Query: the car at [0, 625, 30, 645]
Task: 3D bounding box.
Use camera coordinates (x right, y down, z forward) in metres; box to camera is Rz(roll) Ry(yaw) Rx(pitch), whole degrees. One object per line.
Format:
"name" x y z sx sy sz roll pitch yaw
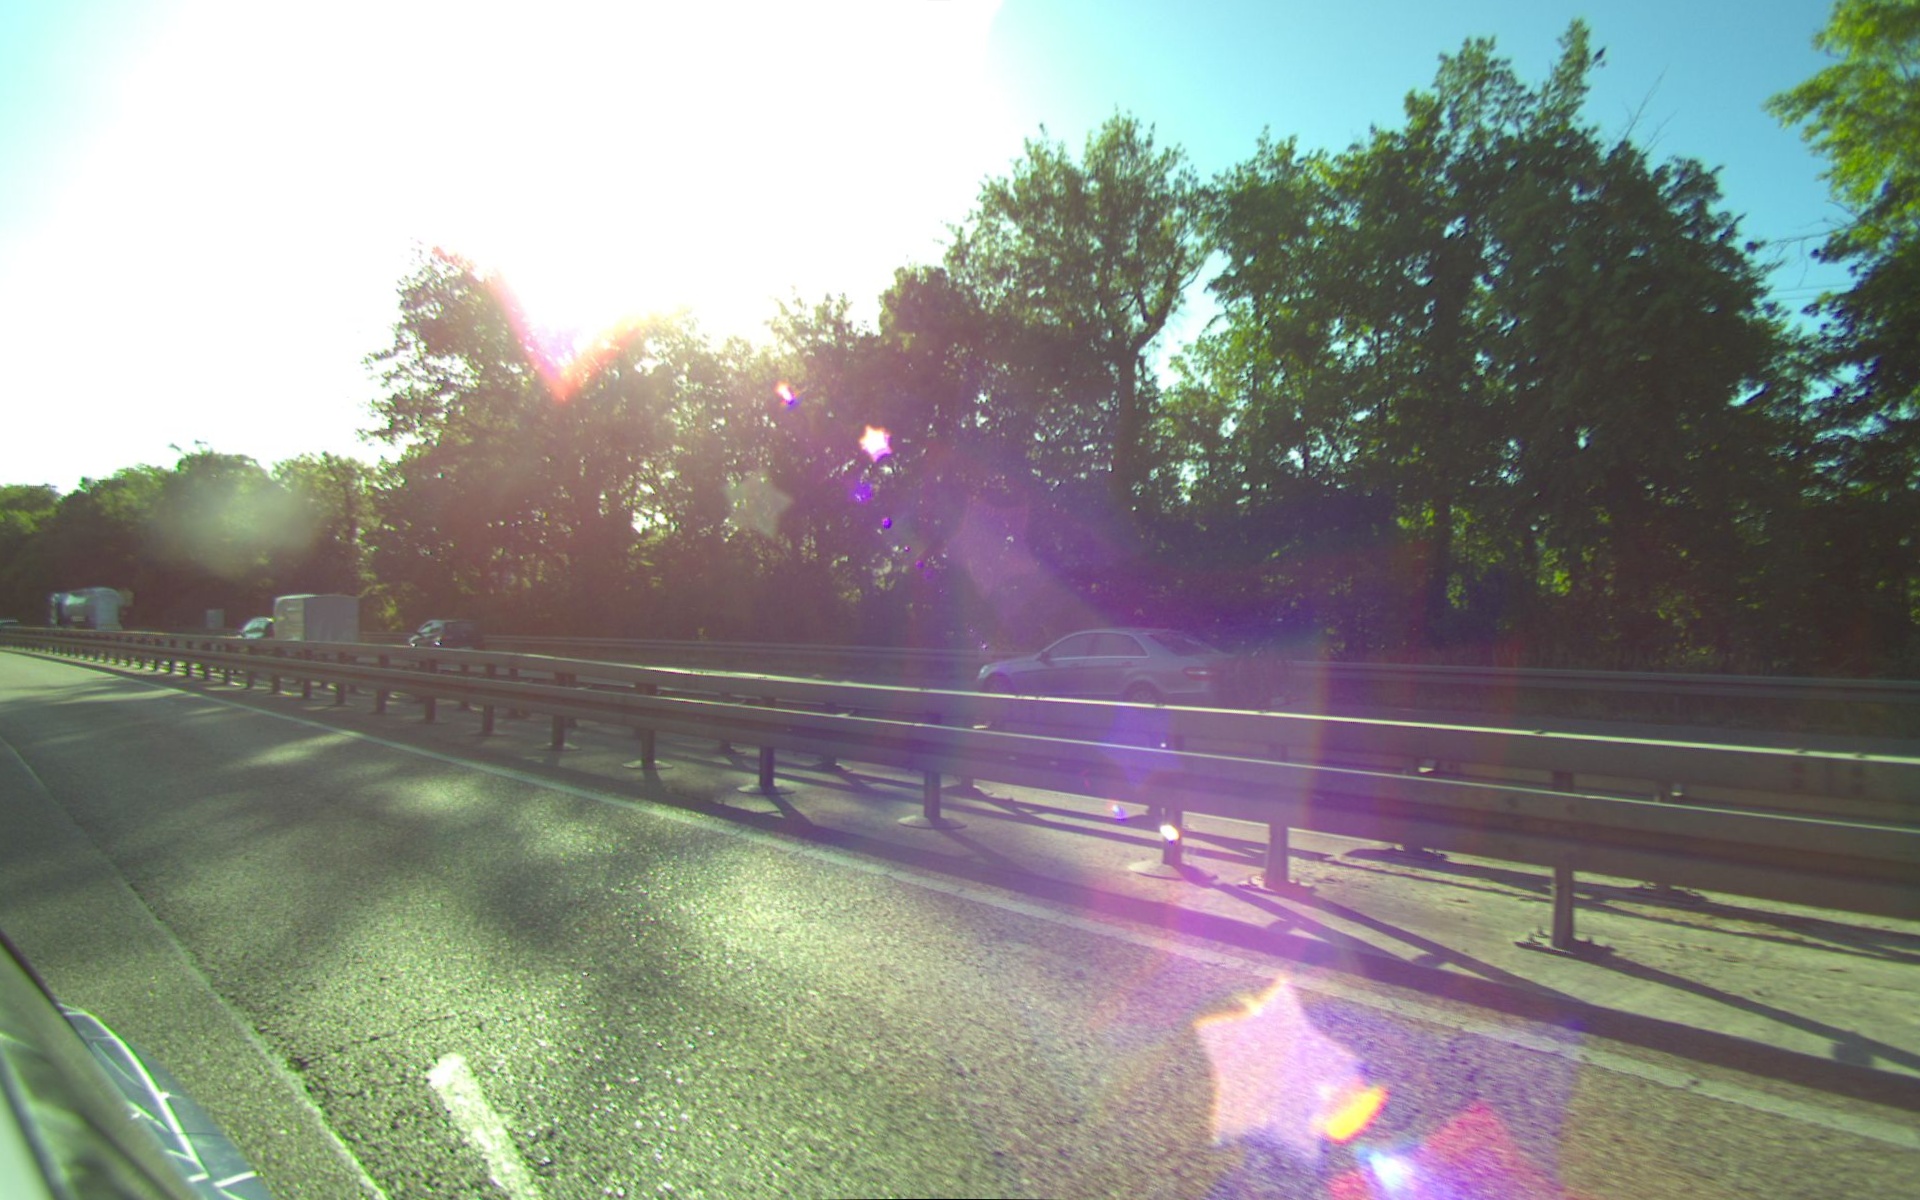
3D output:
"car" -74.534 2.731 79.319 4.692 1.478 1.780 -1 -2 40

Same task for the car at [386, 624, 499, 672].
"car" -19.142 1.705 37.365 5.057 1.626 2.049 -1 -1 42

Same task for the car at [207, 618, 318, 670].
"car" -25.461 1.548 36.879 5.221 1.761 2.050 -1 -2 41

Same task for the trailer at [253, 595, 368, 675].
"trailer" -21.623 1.147 33.634 4.603 2.456 1.973 -1 -2 41

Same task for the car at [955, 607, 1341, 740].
"car" 2.763 1.031 16.178 5.877 1.738 2.096 -1 -1 44

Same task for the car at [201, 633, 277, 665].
"car" -36.072 2.405 50.596 4.984 1.478 2.049 -1 -1 42

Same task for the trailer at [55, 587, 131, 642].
"trailer" -67.608 1.196 78.796 10.968 4.028 3.020 -2 -2 42

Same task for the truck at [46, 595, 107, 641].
"truck" -72.835 1.481 83.378 6.152 3.658 2.950 -2 -2 41
